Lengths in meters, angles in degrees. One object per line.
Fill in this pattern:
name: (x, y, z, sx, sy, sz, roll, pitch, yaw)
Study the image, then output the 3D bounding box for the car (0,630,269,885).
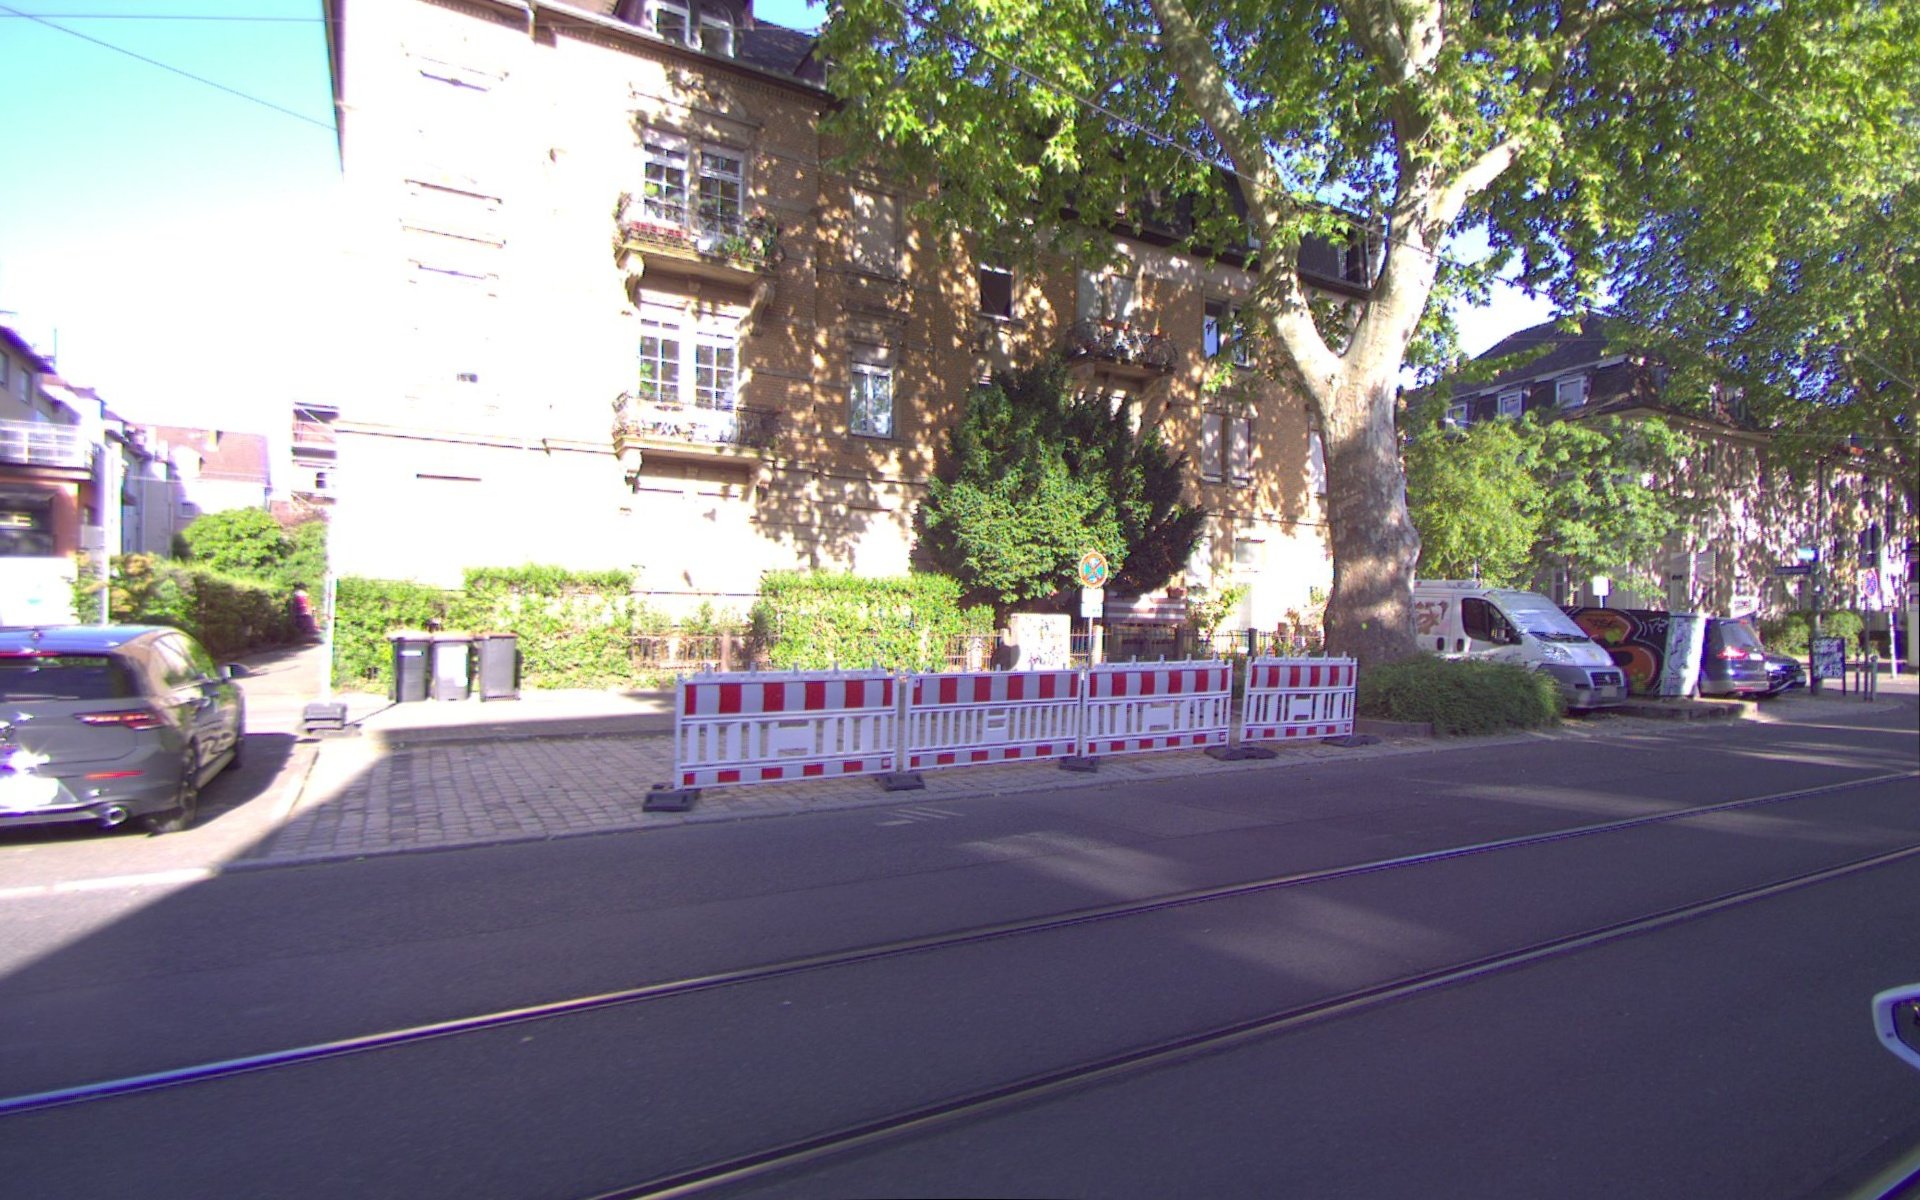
car: (-6.853, 1.032, 8.023, 1.832, 1.484, 3.968, 1, -1, -30)

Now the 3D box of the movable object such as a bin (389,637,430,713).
movable object such as a bin: (-8.586, 1.159, 15.695, 0.536, 1.124, 0.721, 1, 0, -28)

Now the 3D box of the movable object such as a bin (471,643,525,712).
movable object such as a bin: (-7.352, 1.222, 15.971, 0.727, 1.036, 0.719, 1, 0, -28)

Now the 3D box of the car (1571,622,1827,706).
car: (16.478, 1.347, 22.625, 1.904, 1.628, 4.276, 1, -1, -32)

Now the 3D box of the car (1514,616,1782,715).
car: (14.322, 1.264, 21.150, 1.904, 1.825, 4.276, 1, -1, -32)

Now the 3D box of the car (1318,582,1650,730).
car: (9.252, 0.885, 18.219, 2.063, 2.289, 5.004, 1, 0, -33)

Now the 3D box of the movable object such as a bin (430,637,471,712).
movable object such as a bin: (-8.100, 1.169, 15.968, 0.553, 1.124, 0.720, 1, 0, -28)
